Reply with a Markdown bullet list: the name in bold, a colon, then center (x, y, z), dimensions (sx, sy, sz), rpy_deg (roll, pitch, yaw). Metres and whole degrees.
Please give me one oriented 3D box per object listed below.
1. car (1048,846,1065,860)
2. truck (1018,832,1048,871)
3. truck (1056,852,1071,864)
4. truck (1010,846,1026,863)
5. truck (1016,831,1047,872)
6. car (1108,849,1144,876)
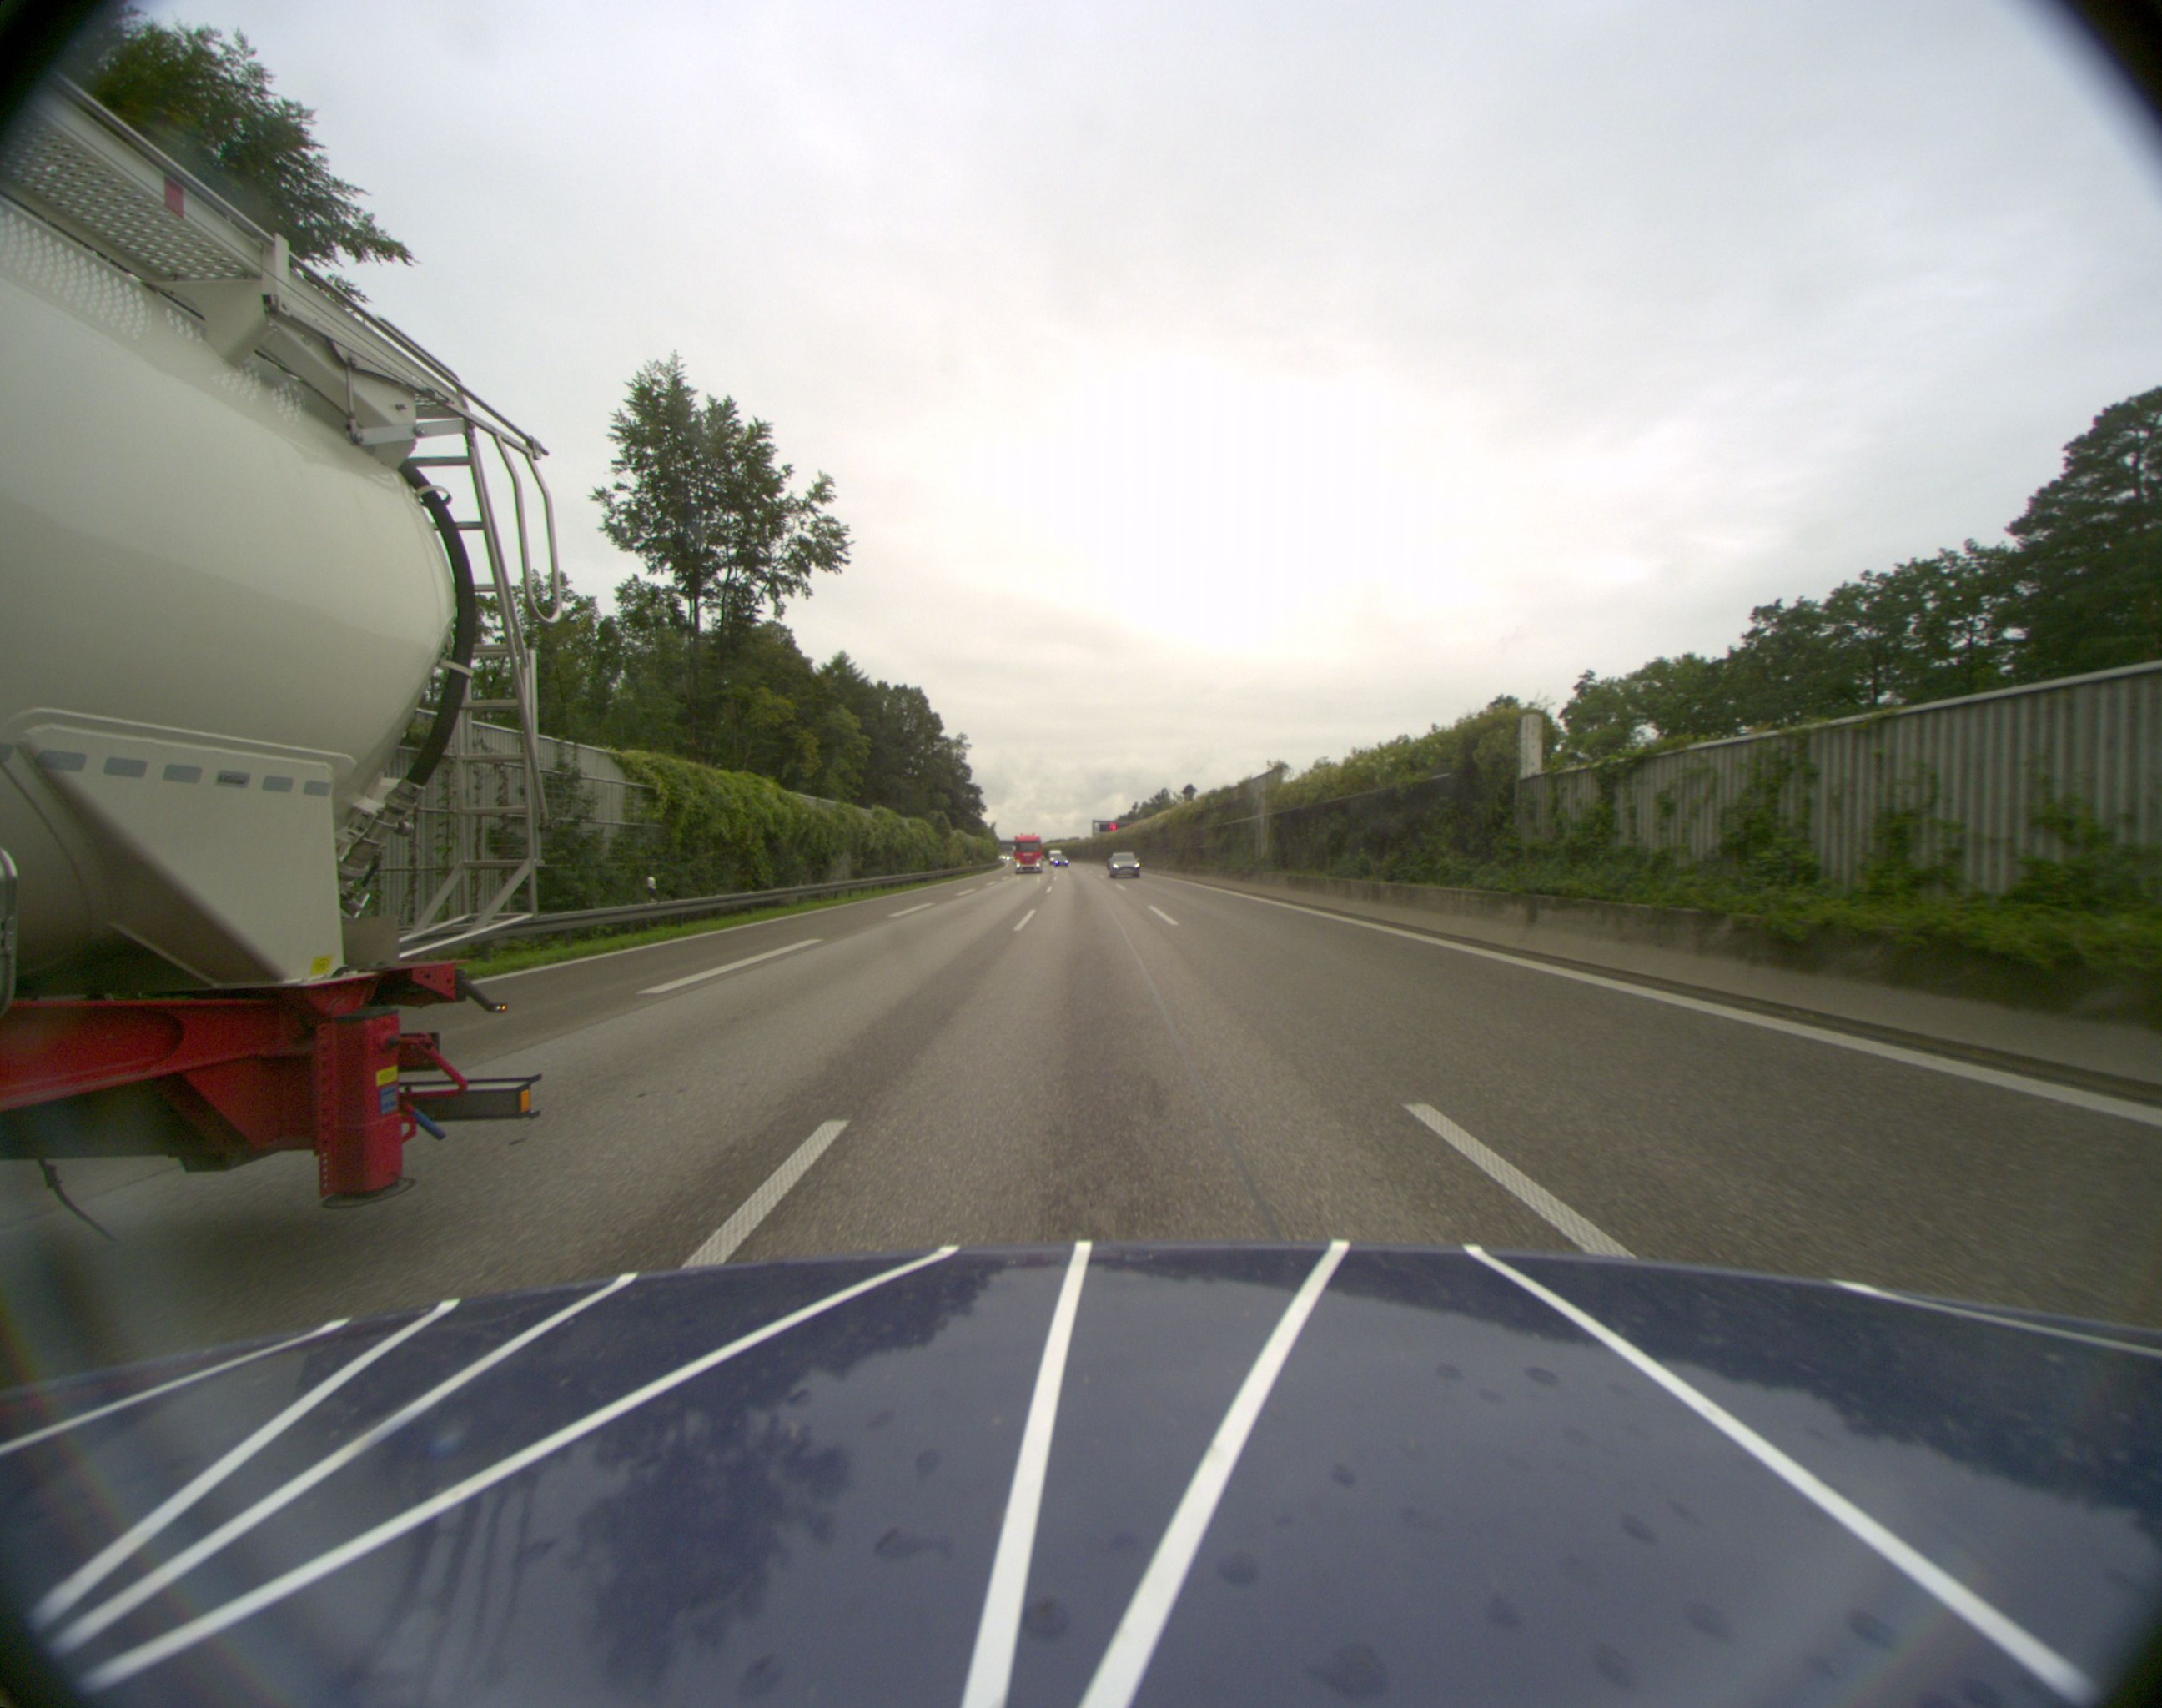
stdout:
- **car**: center (-4.261, -0.212, 132.244), dimensions (2.769, 2.227, 6.544), rpy_deg (-1, 1, -2)
- **truck**: center (-4.889, -0.386, 78.678), dimensions (2.709, 3.691, 9.836), rpy_deg (-1, 2, -2)
- **truck**: center (-2.517, 0.521, 107.769), dimensions (1.826, 1.535, 3.997), rpy_deg (-2, 2, -4)
- **truck**: center (-14.403, 0.082, 173.045), dimensions (2.711, 3.690, 8.233), rpy_deg (-1, 1, -10)
- **truck**: center (-4.759, -0.264, 73.942), dimensions (2.709, 3.809, 4.197), rpy_deg (-1, 2, -1)
- **car**: center (2.985, 0.519, 51.464), dimensions (2.023, 1.595, 5.437), rpy_deg (-1, 2, -1)
